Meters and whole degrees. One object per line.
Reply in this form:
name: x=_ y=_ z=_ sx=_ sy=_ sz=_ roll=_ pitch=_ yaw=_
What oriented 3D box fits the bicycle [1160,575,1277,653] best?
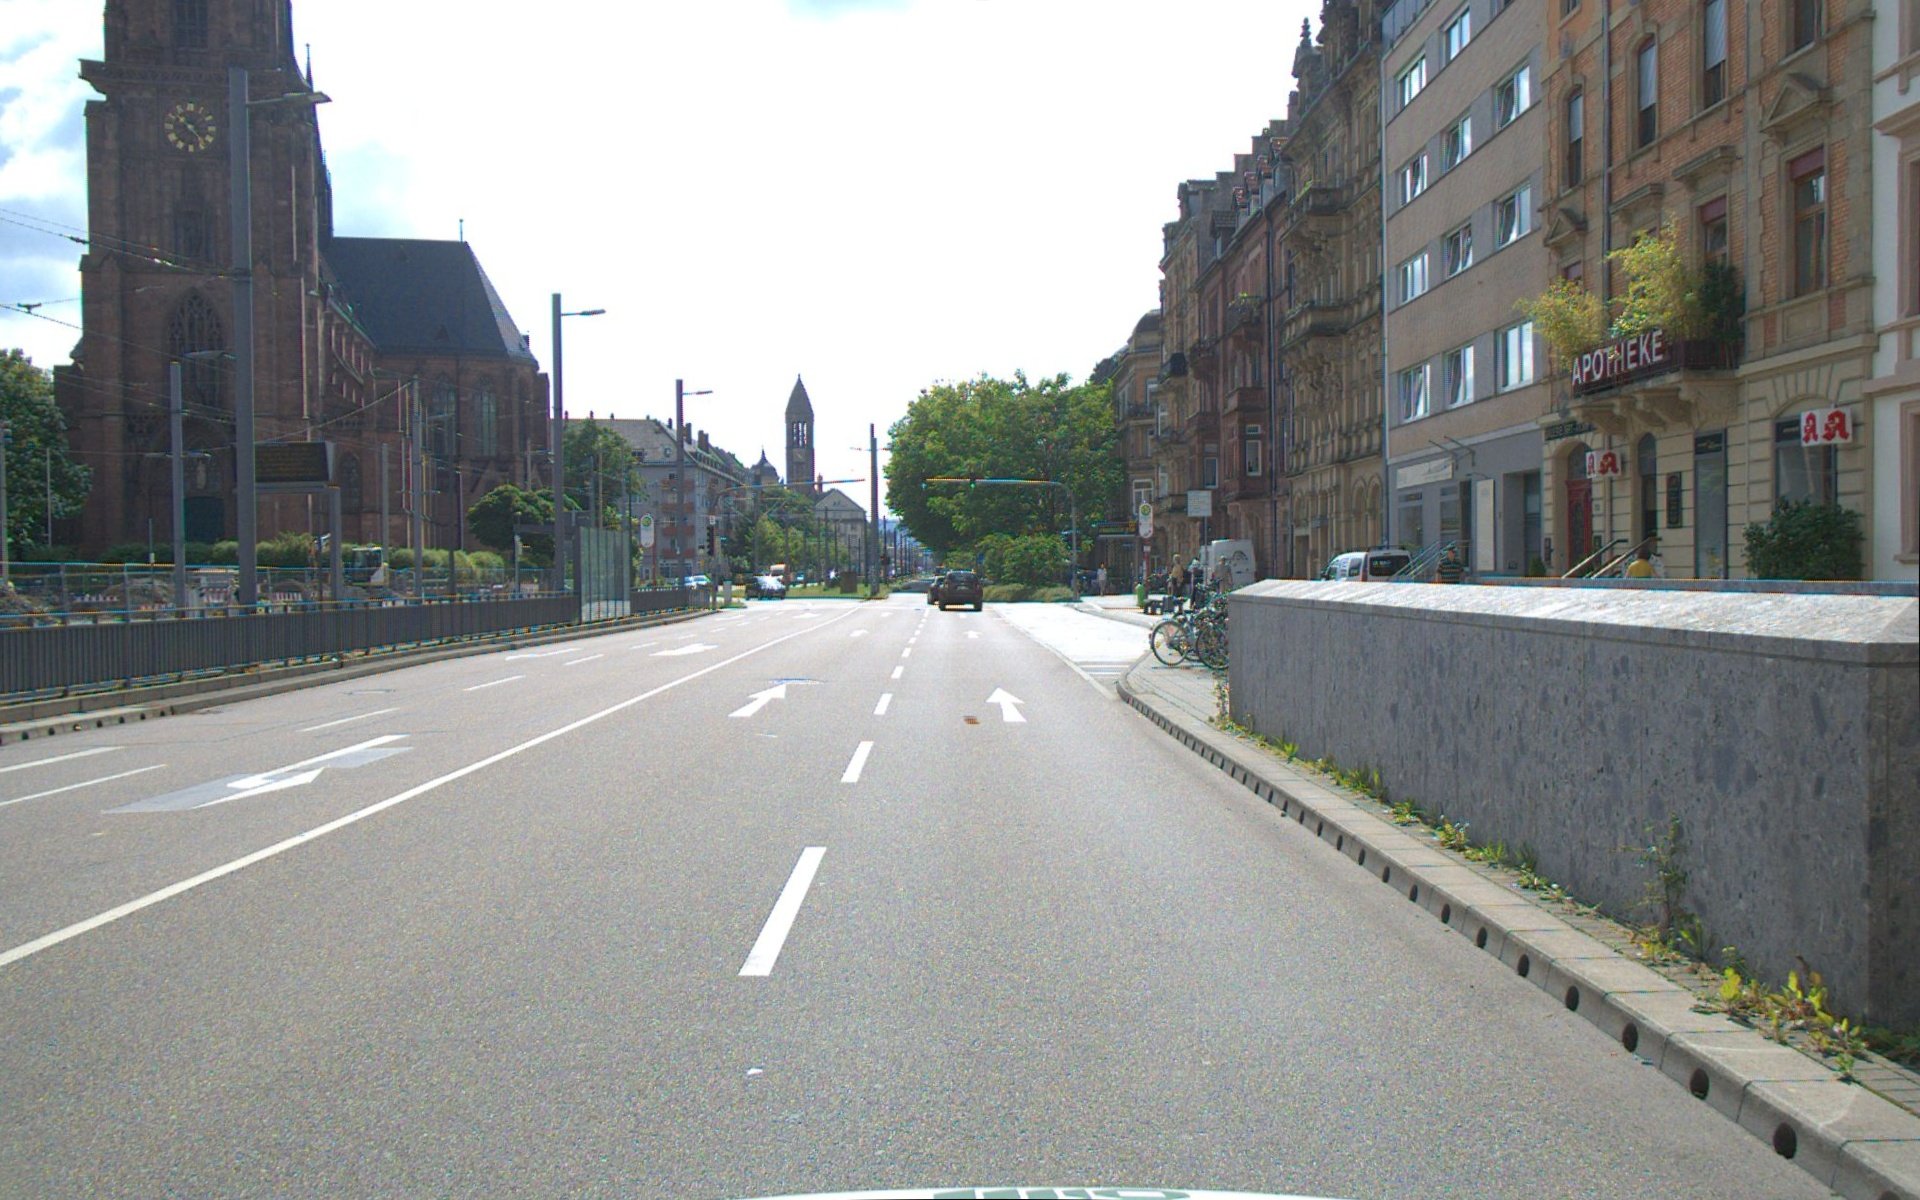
bicycle: x=4.437 y=0.236 z=28.382 sx=1.944 sy=1.259 sz=0.440 roll=-1 pitch=3 yaw=-12

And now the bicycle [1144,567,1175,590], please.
bicycle: x=11.337 y=-1.211 z=94.088 sx=1.732 sy=1.290 sz=0.467 roll=-1 pitch=3 yaw=3

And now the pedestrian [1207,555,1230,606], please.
pedestrian: x=9.610 y=-0.737 z=61.441 sx=0.650 sy=1.868 sz=0.693 roll=-1 pitch=0 yaw=-7

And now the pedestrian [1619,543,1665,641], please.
pedestrian: x=12.236 y=-0.158 z=29.702 sx=0.566 sy=1.727 sz=0.612 roll=-1 pitch=3 yaw=0

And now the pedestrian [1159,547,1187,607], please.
pedestrian: x=6.884 y=-0.744 z=53.496 sx=0.653 sy=1.936 sz=0.691 roll=-1 pitch=1 yaw=-19

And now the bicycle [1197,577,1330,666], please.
bicycle: x=4.480 y=0.316 z=24.432 sx=1.884 sy=1.259 sz=0.441 roll=-1 pitch=3 yaw=1

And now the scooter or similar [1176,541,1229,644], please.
scooter or similar: x=4.388 y=-0.143 z=29.950 sx=0.390 sy=1.817 sz=1.532 roll=-1 pitch=1 yaw=-13

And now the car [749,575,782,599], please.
car: x=-12.140 y=-0.840 z=103.370 sx=1.878 sy=1.442 sz=3.738 roll=-1 pitch=1 yaw=-4

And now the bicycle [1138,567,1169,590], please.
bicycle: x=11.135 y=-1.245 z=95.389 sx=1.732 sy=1.290 sz=0.467 roll=-1 pitch=3 yaw=3

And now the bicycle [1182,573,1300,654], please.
bicycle: x=4.646 y=0.217 z=27.354 sx=1.890 sy=1.259 sz=0.440 roll=-1 pitch=3 yaw=-12

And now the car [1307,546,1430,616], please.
car: x=11.800 y=-0.530 z=48.090 sx=1.955 sy=1.894 sz=4.747 roll=-1 pitch=0 yaw=-6

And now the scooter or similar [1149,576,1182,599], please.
scooter or similar: x=11.354 y=-0.707 z=91.431 sx=1.733 sy=1.205 sz=0.466 roll=-3 pitch=0 yaw=-1

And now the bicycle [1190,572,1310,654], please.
bicycle: x=4.691 y=0.200 z=26.759 sx=1.890 sy=1.259 sz=0.440 roll=-1 pitch=3 yaw=-12

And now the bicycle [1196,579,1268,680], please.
bicycle: x=3.775 y=0.382 z=23.099 sx=0.431 sy=1.259 sz=1.927 roll=-1 pitch=3 yaw=-8

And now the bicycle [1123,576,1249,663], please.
bicycle: x=3.473 y=0.293 z=25.404 sx=1.891 sy=1.259 sz=0.440 roll=-1 pitch=3 yaw=-14

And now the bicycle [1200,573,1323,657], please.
bicycle: x=4.777 y=0.229 z=26.209 sx=1.890 sy=1.259 sz=0.440 roll=-1 pitch=3 yaw=-12

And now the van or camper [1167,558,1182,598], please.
van or camper: x=11.307 y=-1.158 z=87.068 sx=0.652 sy=2.049 sz=0.638 roll=-1 pitch=0 yaw=-1

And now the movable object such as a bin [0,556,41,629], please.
movable object such as a bin: x=-41.157 y=-0.273 z=68.395 sx=5.041 sy=2.962 sz=1.997 roll=-1 pitch=1 yaw=-8

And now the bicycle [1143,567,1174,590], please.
bicycle: x=11.352 y=-1.251 z=94.683 sx=1.709 sy=1.290 sz=0.467 roll=-1 pitch=3 yaw=3

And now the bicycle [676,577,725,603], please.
bicycle: x=-11.697 y=-0.444 z=74.512 sx=1.975 sy=1.146 sz=0.932 roll=-1 pitch=1 yaw=10

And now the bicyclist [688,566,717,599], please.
bicyclist: x=-11.613 y=-0.783 z=74.548 sx=1.065 sy=1.461 sz=0.825 roll=-1 pitch=0 yaw=9

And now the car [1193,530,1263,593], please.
car: x=11.362 y=-1.617 z=70.470 sx=1.953 sy=2.569 sz=5.888 roll=-1 pitch=1 yaw=-1

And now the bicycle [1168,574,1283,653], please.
bicycle: x=4.471 y=0.224 z=27.858 sx=1.891 sy=1.259 sz=0.440 roll=-1 pitch=3 yaw=-13

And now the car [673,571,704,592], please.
car: x=-20.710 y=-1.420 z=126.309 sx=1.781 sy=1.579 sz=4.557 roll=-1 pitch=1 yaw=-3

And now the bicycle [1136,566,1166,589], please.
bicycle: x=11.095 y=-1.291 z=96.116 sx=1.732 sy=1.290 sz=0.467 roll=-1 pitch=3 yaw=3

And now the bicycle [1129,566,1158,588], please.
bicycle: x=10.940 y=-1.394 z=98.632 sx=1.732 sy=1.290 sz=0.467 roll=-1 pitch=3 yaw=3

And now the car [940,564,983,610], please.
car: x=0.057 y=-0.577 z=69.560 sx=1.655 sy=1.740 sz=3.608 roll=-1 pitch=3 yaw=-2

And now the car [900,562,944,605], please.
car: x=-1.908 y=-0.817 z=81.763 sx=1.954 sy=2.049 sz=3.997 roll=-1 pitch=1 yaw=-3

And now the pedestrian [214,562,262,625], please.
pedestrian: x=-23.812 y=-0.213 z=54.533 sx=1.043 sy=2.049 sz=1.051 roll=-1 pitch=1 yaw=3

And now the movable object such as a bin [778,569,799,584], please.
movable object such as a bin: x=-21.419 y=-2.936 z=206.721 sx=2.169 sy=1.723 sz=3.705 roll=-1 pitch=3 yaw=-13

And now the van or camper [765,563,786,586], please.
van or camper: x=-22.366 y=-3.094 z=200.395 sx=2.211 sy=2.785 sz=6.198 roll=-1 pitch=1 yaw=-4

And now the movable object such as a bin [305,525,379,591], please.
movable object such as a bin: x=-30.936 y=-2.150 z=82.918 sx=1.952 sy=3.159 sz=4.003 roll=-1 pitch=3 yaw=4

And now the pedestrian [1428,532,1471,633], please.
pedestrian: x=10.523 y=-0.393 z=35.582 sx=0.706 sy=2.135 sz=0.786 roll=-1 pitch=3 yaw=0

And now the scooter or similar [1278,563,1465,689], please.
scooter or similar: x=5.317 y=0.335 z=21.465 sx=2.275 sy=1.572 sz=0.698 roll=0 pitch=3 yaw=5

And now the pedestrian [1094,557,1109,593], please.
pedestrian: x=8.096 y=-1.449 z=94.655 sx=0.752 sy=2.049 sz=0.715 roll=-1 pitch=0 yaw=0
